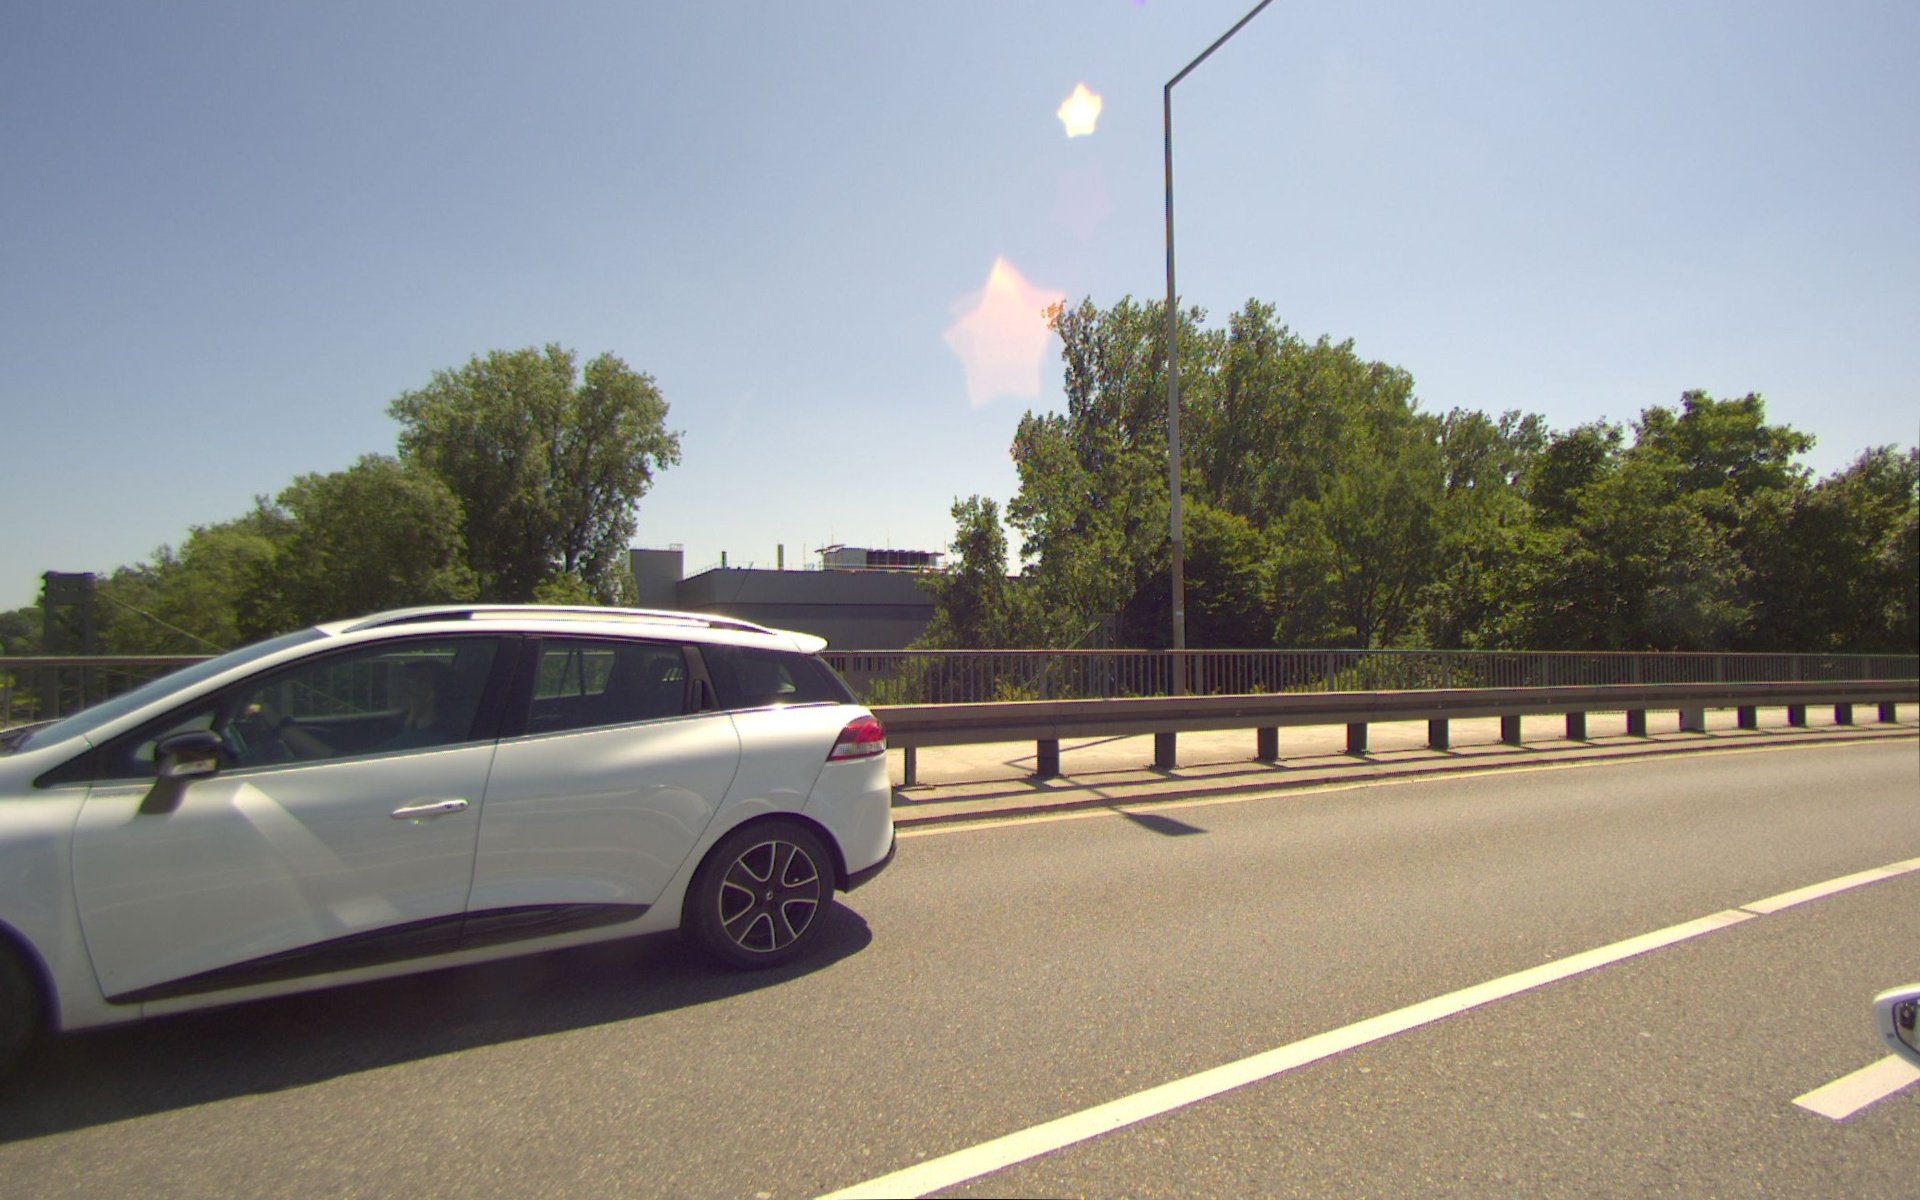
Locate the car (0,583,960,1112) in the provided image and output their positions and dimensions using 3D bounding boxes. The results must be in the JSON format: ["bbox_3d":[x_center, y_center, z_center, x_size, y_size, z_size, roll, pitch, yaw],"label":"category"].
[{"bbox_3d":[-2.118,0.722,4.085,4.011,1.468,1.590,2,-1,-32],"label":"car"}]
